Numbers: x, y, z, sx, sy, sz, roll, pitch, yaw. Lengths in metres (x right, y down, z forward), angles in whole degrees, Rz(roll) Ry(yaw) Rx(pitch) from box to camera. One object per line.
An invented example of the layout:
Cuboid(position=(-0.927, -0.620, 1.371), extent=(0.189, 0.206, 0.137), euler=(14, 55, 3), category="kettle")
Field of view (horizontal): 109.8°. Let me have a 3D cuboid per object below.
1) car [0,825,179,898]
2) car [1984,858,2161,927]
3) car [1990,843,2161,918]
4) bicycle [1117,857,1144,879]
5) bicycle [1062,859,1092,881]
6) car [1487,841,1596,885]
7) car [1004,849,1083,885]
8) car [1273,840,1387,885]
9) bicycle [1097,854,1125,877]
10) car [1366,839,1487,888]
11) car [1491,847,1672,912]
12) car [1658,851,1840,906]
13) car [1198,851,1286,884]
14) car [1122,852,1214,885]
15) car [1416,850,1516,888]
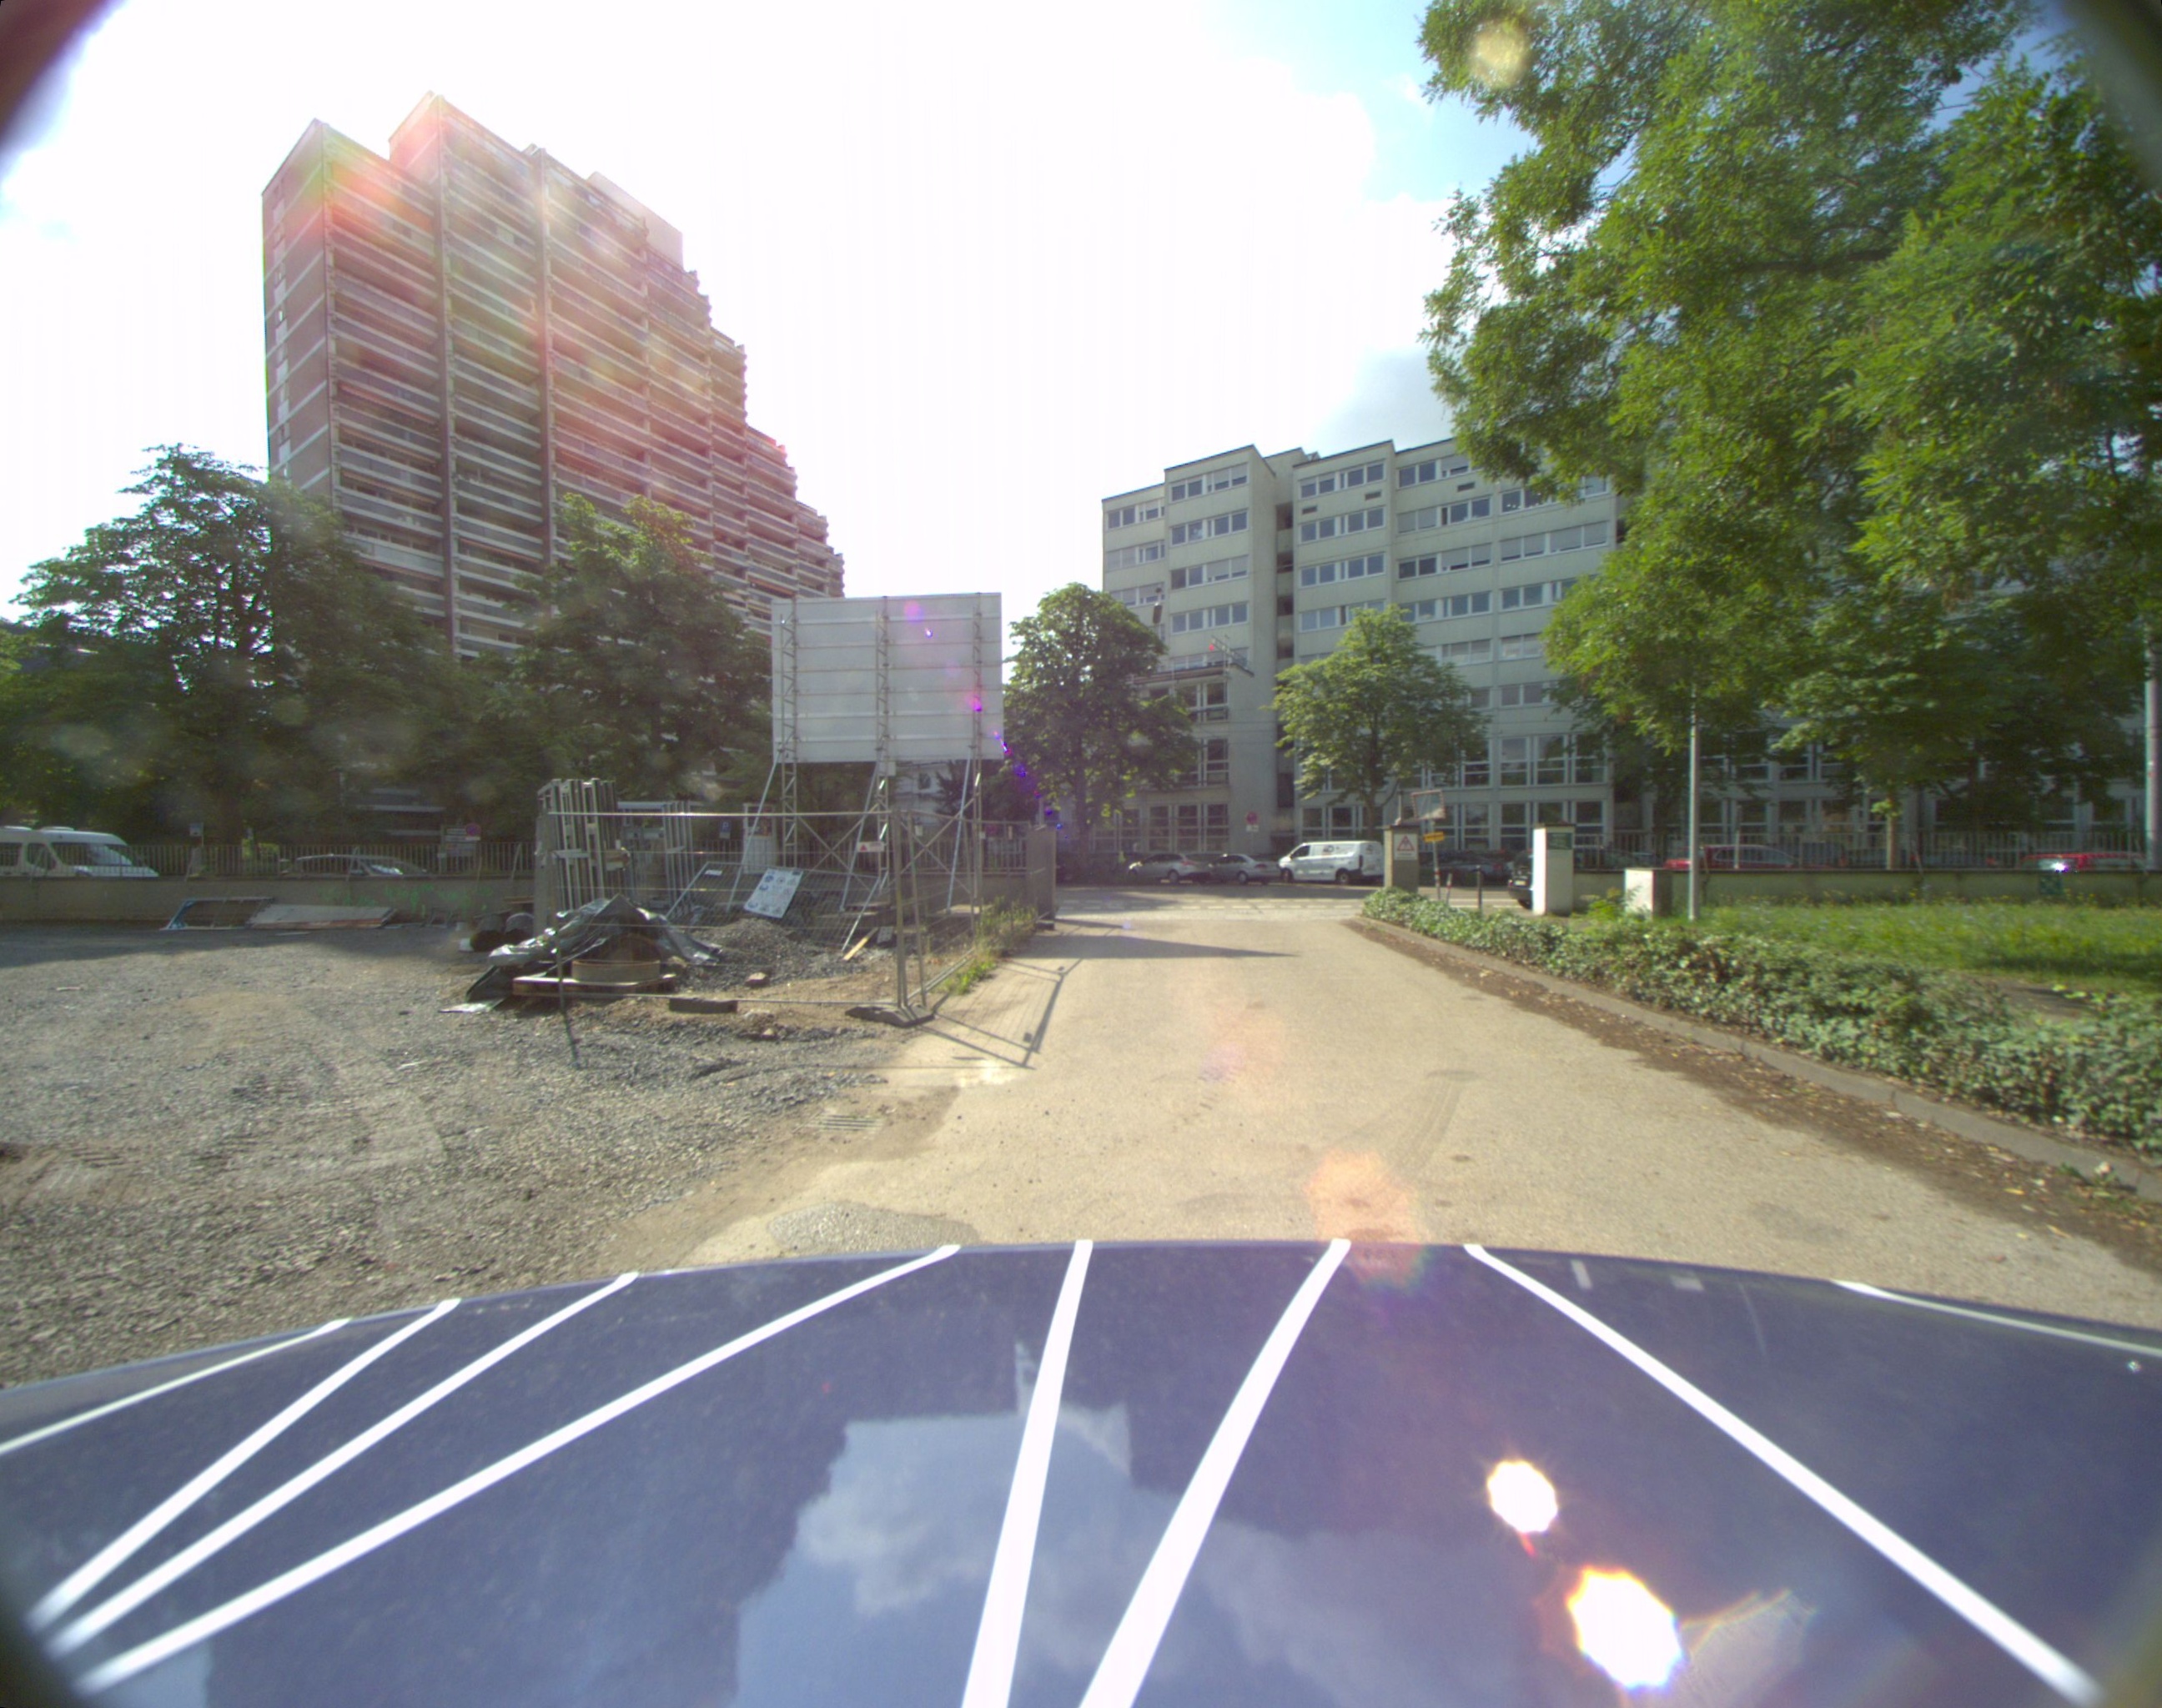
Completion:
Cuboid(position=(-30.574, 0.236, 22.693), extent=(5.302, 2.002, 2.001), euler=(-1, 0, 6), category="car")
Cuboid(position=(24.711, 0.906, 18.360), extent=(3.580, 1.602, 1.680), euler=(0, -1, 5), category="car")
Cuboid(position=(24.779, 0.605, 18.391), extent=(3.276, 1.477, 1.673), euler=(-5, 0, 5), category="car")
Cuboid(position=(2.807, 0.781, 42.826), extent=(0.496, 1.081, 2.059), euler=(-4, 2, 35), category="bicycle")
Cuboid(position=(-0.221, 0.917, 43.528), extent=(0.496, 1.081, 2.059), euler=(-4, 2, 35), category="bicycle")
Cuboid(position=(20.786, 0.419, 34.388), extent=(1.886, 1.702, 3.749), euler=(-7, 2, -41), category="car")
Cuboid(position=(-1.864, 0.661, 36.797), extent=(1.762, 1.454, 3.990), euler=(-7, 2, -37), category="car")
Cuboid(position=(11.250, 0.394, 34.594), extent=(1.936, 1.900, 4.630), euler=(2, -1, -36), category="car")
Cuboid(position=(1.733, 0.648, 43.093), extent=(0.496, 1.081, 2.059), euler=(-4, 2, 35), category="bicycle")
Cuboid(position=(15.387, 0.392, 34.059), extent=(1.907, 1.986, 4.561), euler=(-3, 2, -36), category="car")
Cuboid(position=(12.938, 0.662, 19.826), extent=(3.580, 1.602, 1.680), euler=(0, -1, 5), category="car")
Cuboid(position=(20.330, 0.735, 23.251), extent=(3.966, 1.602, 1.680), euler=(0, 1, 4), category="car")
Cuboid(position=(7.517, 0.655, 35.721), extent=(1.729, 1.466, 3.774), euler=(0, -1, -38), category="car")
Cuboid(position=(4.086, 0.726, 36.135), extent=(1.787, 1.455, 4.225), euler=(0, -3, -42), category="car")
Cuboid(position=(17.527, 0.703, 34.675), extent=(1.765, 1.492, 3.627), euler=(-6, 1, -43), category="car")
